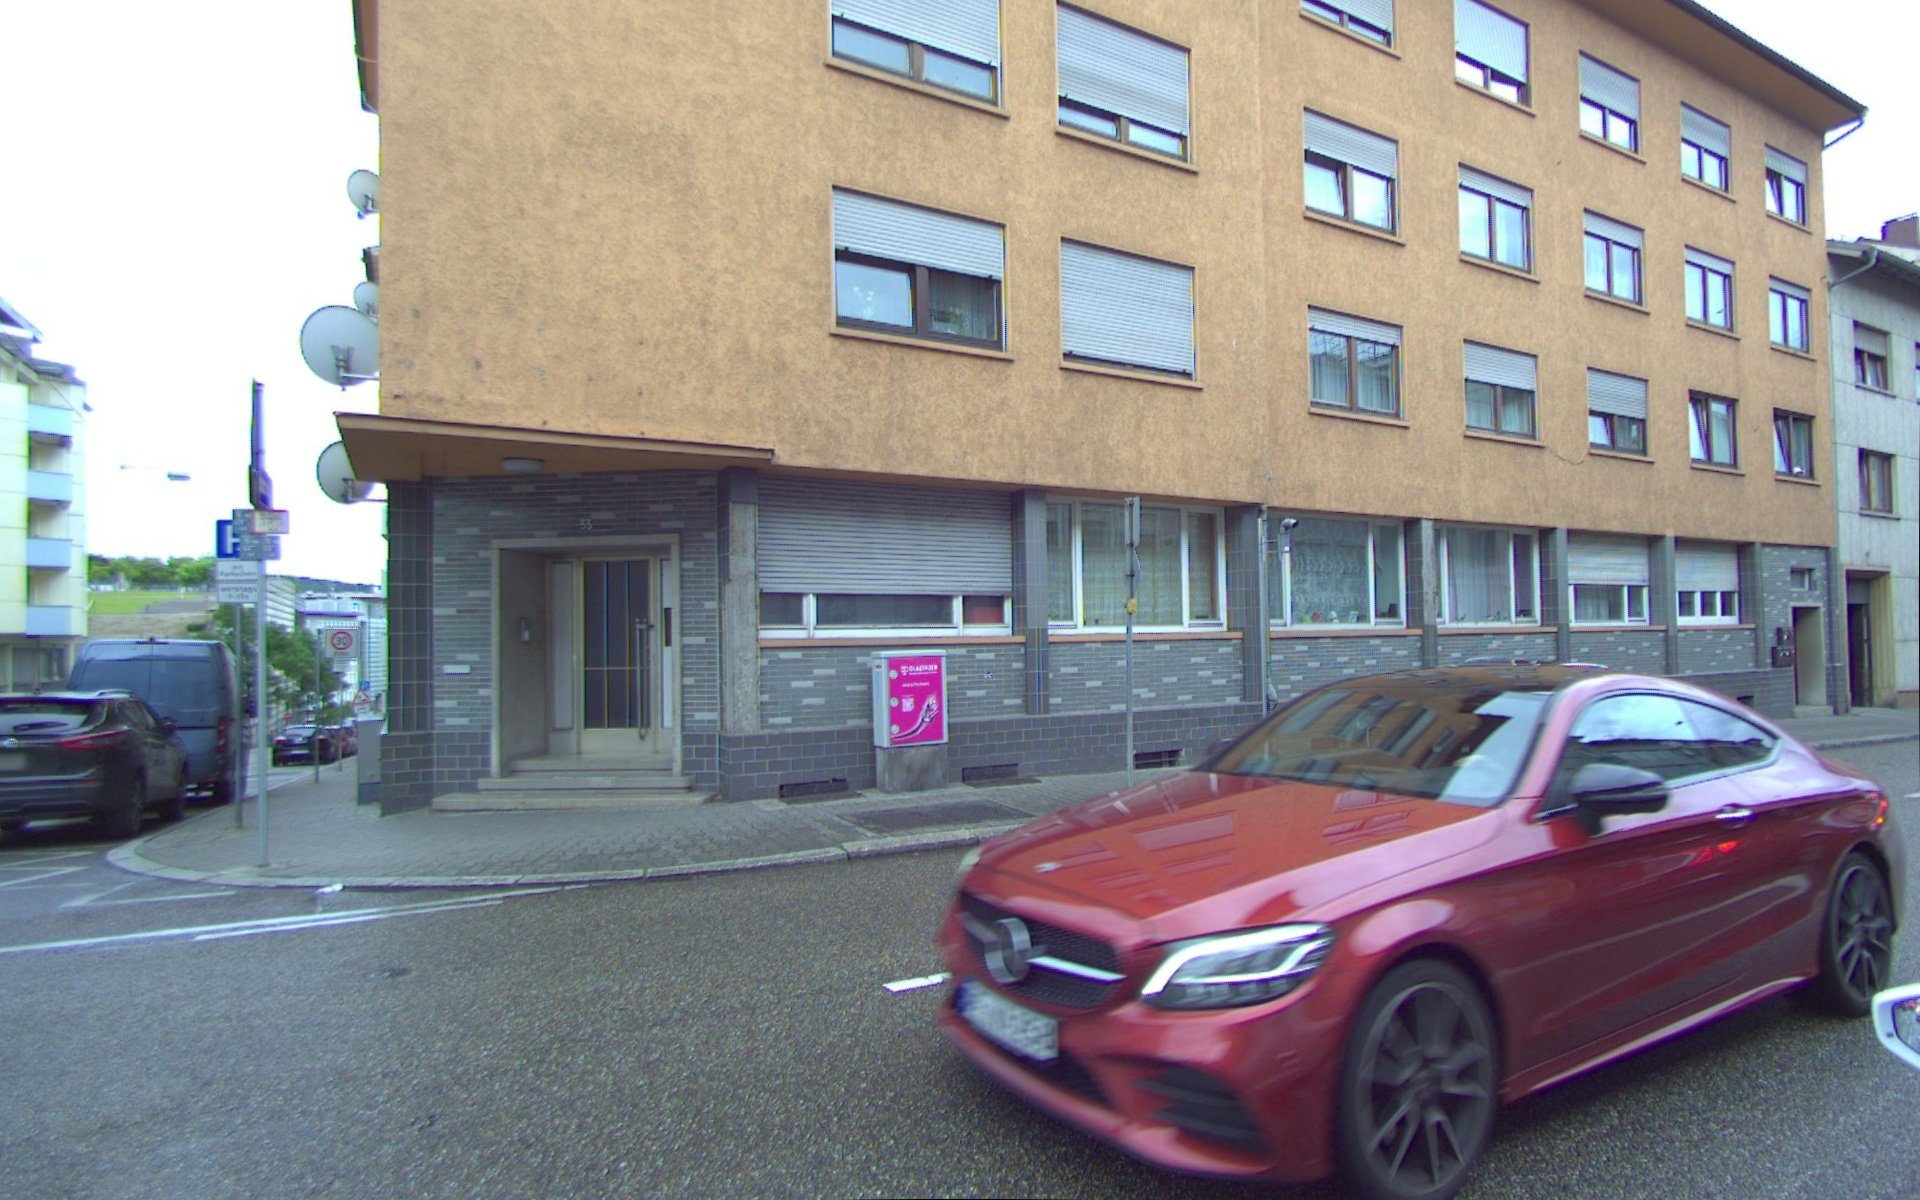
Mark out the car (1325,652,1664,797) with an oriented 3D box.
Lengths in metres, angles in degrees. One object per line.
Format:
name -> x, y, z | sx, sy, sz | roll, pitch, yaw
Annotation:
car -> 6.917, 1.456, 12.875 | 4.475, 1.457, 1.786 | 1, 0, -31

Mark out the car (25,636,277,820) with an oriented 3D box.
car -> -13.165, 2.090, 16.861 | 2.223, 2.492, 6.017 | 1, -7, -29

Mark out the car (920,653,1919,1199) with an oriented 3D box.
car -> 2.120, 0.939, 4.099 | 4.288, 1.408, 1.717 | 1, -4, -30

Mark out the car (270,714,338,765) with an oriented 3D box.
car -> -24.378, 5.195, 37.444 | 1.796, 1.696, 4.026 | 1, -7, -29

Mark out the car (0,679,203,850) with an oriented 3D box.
car -> -10.128, 1.835, 11.430 | 1.820, 1.596, 4.127 | 1, -8, -29
